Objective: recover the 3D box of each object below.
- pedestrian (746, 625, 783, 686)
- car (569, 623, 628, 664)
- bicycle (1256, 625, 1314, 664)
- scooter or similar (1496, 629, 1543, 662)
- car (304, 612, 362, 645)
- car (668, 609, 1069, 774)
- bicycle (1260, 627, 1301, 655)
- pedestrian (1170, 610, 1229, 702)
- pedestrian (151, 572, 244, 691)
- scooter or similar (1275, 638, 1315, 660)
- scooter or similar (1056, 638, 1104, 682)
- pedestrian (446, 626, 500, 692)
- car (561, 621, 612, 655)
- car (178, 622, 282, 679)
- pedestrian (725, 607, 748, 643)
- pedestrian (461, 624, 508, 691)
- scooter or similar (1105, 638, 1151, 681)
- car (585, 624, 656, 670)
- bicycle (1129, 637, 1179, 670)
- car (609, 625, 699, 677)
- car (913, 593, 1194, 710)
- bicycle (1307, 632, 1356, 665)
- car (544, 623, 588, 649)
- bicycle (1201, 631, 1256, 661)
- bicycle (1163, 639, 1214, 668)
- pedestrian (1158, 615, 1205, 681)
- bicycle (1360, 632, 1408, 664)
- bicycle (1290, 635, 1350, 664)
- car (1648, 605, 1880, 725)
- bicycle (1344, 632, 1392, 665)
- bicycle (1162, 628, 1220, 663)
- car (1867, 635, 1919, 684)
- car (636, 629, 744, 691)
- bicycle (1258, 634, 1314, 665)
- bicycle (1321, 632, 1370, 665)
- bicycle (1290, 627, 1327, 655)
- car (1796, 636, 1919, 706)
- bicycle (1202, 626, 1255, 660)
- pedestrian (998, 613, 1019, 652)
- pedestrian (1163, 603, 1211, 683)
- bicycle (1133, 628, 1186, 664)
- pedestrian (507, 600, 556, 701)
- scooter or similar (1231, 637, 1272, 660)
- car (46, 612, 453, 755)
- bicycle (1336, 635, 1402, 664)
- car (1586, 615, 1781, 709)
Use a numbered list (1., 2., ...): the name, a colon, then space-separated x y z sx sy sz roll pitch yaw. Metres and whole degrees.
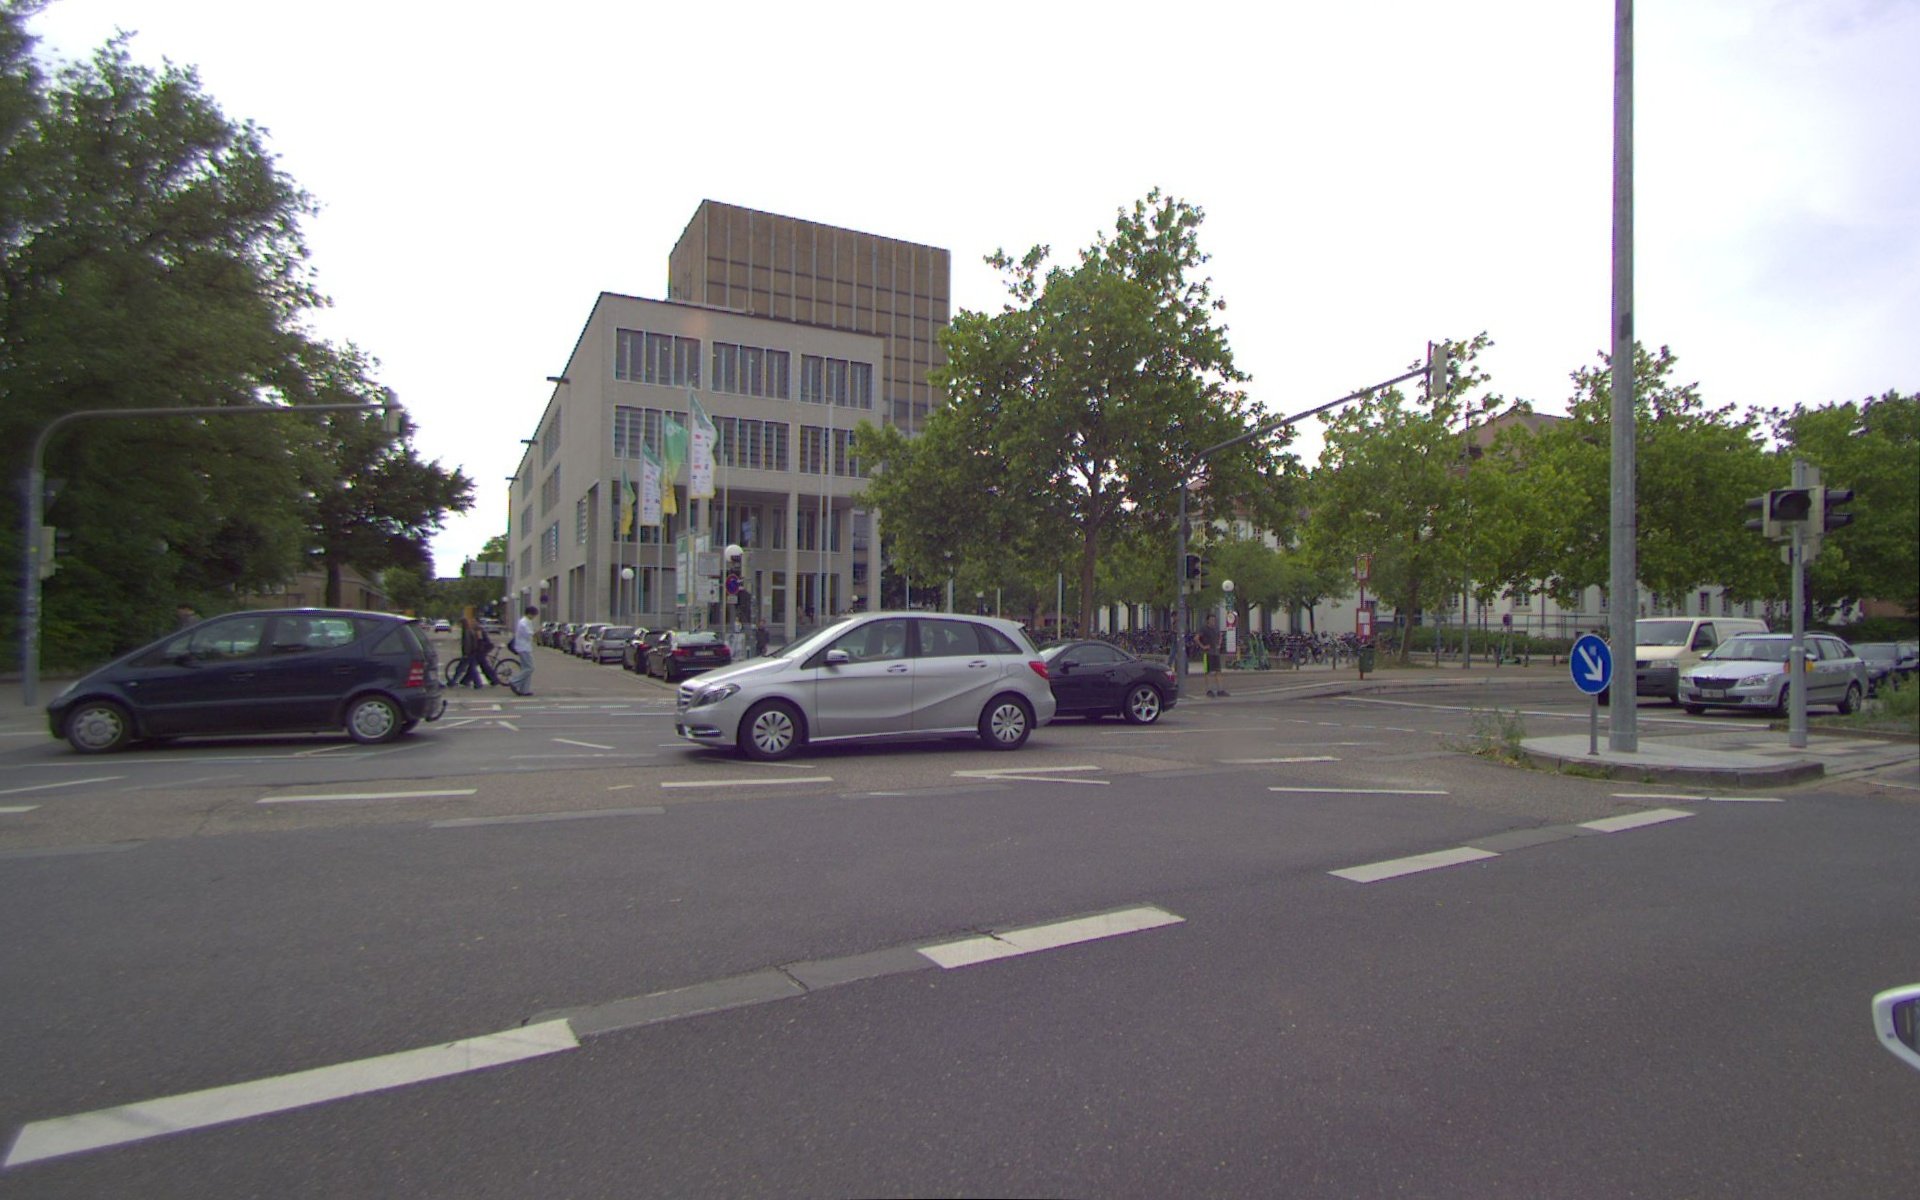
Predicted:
1. pedestrian: -6.722 1.902 34.535 1.004 2.040 0.999 1 -2 -28
2. car: -15.833 1.885 43.890 1.831 1.706 3.971 1 -2 -28
3. bicycle: 13.428 1.837 41.548 0.892 1.579 2.176 2 -2 -37
4. scooter or similar: 21.918 1.763 39.384 0.559 1.260 1.569 1 -2 -27
5. car: -31.492 1.454 50.529 1.973 1.561 3.975 1 -2 -25
6. car: -1.067 0.957 11.523 4.196 1.604 1.953 0 -3 -24
7. bicycle: 18.321 2.346 57.533 0.906 1.579 3.084 1 -2 -10
8. pedestrian: 5.494 1.269 23.077 0.997 2.040 0.890 1 -2 -29
9. pedestrian: -13.731 0.539 18.086 1.167 2.040 1.135 2 0 43
10. scooter or similar: 10.774 1.573 32.312 1.271 0.703 0.405 1 0 -25
11. scooter or similar: 3.236 1.610 27.075 1.303 1.155 0.359 1 -2 -28
12. pedestrian: -11.094 1.333 22.887 0.991 1.447 0.693 1 0 -37
13. car: -17.978 1.803 48.221 1.865 1.573 3.973 1 -2 -27
14. car: -20.754 1.397 28.684 1.839 1.469 3.571 1 -1 -27
15. pedestrian: -12.831 1.468 57.676 1.031 2.040 0.785 2 -2 -44
16. pedestrian: -11.240 1.345 23.778 0.962 1.533 0.820 1 -2 -24
17. scooter or similar: 4.663 1.644 27.801 1.303 1.155 0.359 1 -2 -28
18. car: -13.347 1.801 39.352 1.975 1.601 3.970 1 0 -28
19. bicycle: 8.553 2.352 44.403 0.713 1.371 2.472 1 -2 -31
20. car: -10.137 1.635 33.136 1.977 1.491 3.967 1 0 -30
21. car: 1.436 0.782 15.710 3.941 1.641 1.991 1 -2 -21
22. bicycle: 18.631 2.424 50.382 0.713 1.615 2.387 1 -2 -31
23. car: -22.256 2.022 56.679 1.969 1.415 3.876 1 -2 -27
24. bicycle: 12.454 2.126 46.707 0.713 1.347 2.804 1 -2 -30
25. bicycle: 10.239 2.391 45.194 0.713 1.286 2.522 1 -2 -30
26. pedestrian: 6.208 1.345 28.143 0.925 1.827 0.891 1 -3 -31
27. bicycle: 22.269 2.511 52.778 0.713 1.615 2.387 1 -2 -31
28. bicycle: 15.059 2.058 42.052 0.717 1.159 2.300 2 -2 -44
29. car: 15.115 1.184 18.880 3.950 2.040 1.986 1 -2 -28
30. bicycle: 20.953 2.479 51.635 0.713 1.615 2.387 1 -2 -31
31. bicycle: 10.658 2.075 46.489 0.914 1.579 2.639 2 -2 -37
32. car: 34.614 2.097 35.788 4.532 1.629 1.852 1 0 -26
33. car: -7.841 1.653 28.939 1.977 1.491 4.121 1 0 -30
34. bicycle: 12.970 1.953 40.014 0.717 1.168 2.009 2 -2 -44
35. bicycle: 19.579 2.446 51.055 0.713 1.615 2.387 1 -2 -31
36. bicycle: 20.096 2.333 57.987 0.906 1.579 2.663 1 -2 -10
37. car: 23.902 1.811 26.329 3.950 1.712 1.692 2 -2 -28
38. bicycle: 12.817 2.032 48.081 0.914 1.579 2.426 2 -2 -37
39. pedestrian: 2.577 1.735 53.318 0.783 2.040 0.894 1 -2 -20
40. pedestrian: 5.942 1.116 26.283 0.916 2.040 0.797 1 0 -34
41. bicycle: 9.001 2.071 45.520 0.772 1.579 2.644 1 -2 -32
42. pedestrian: -9.111 1.048 21.359 0.843 2.086 0.663 -1 1 -32
43. scooter or similar: 9.255 1.537 31.878 1.271 0.703 0.405 1 0 -25
44. car: -8.220 0.933 12.083 3.646 1.483 1.848 1 -2 -24
45. bicycle: 17.357 2.090 42.696 0.713 1.190 2.733 1 -2 -30
46. car: 16.082 1.320 22.286 4.434 1.872 1.764 1 0 -29
